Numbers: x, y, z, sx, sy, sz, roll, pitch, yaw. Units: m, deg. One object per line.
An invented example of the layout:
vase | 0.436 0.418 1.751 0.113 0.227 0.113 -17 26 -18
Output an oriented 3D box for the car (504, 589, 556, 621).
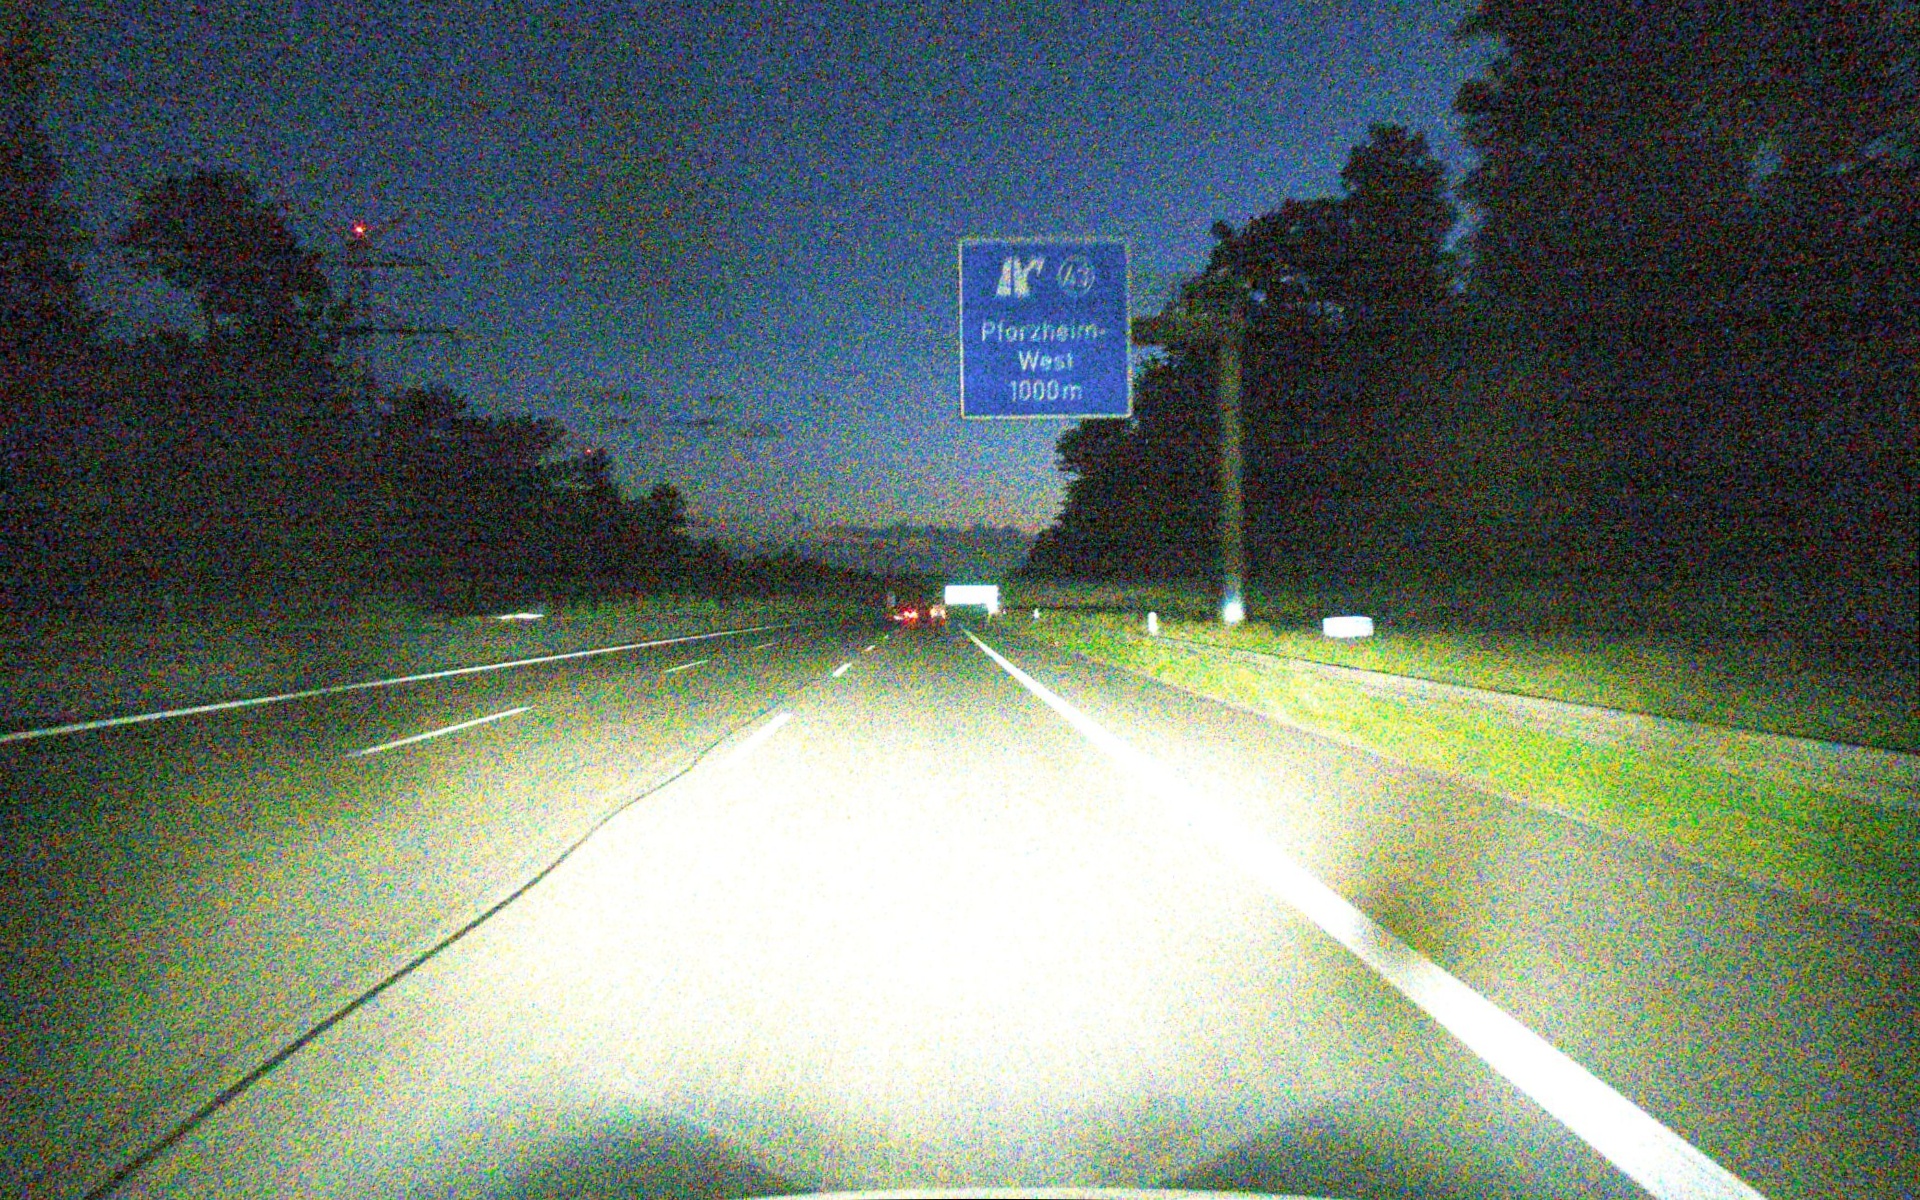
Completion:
car | -23.896 0.280 92.061 1.860 1.675 4.700 1 0 -2
